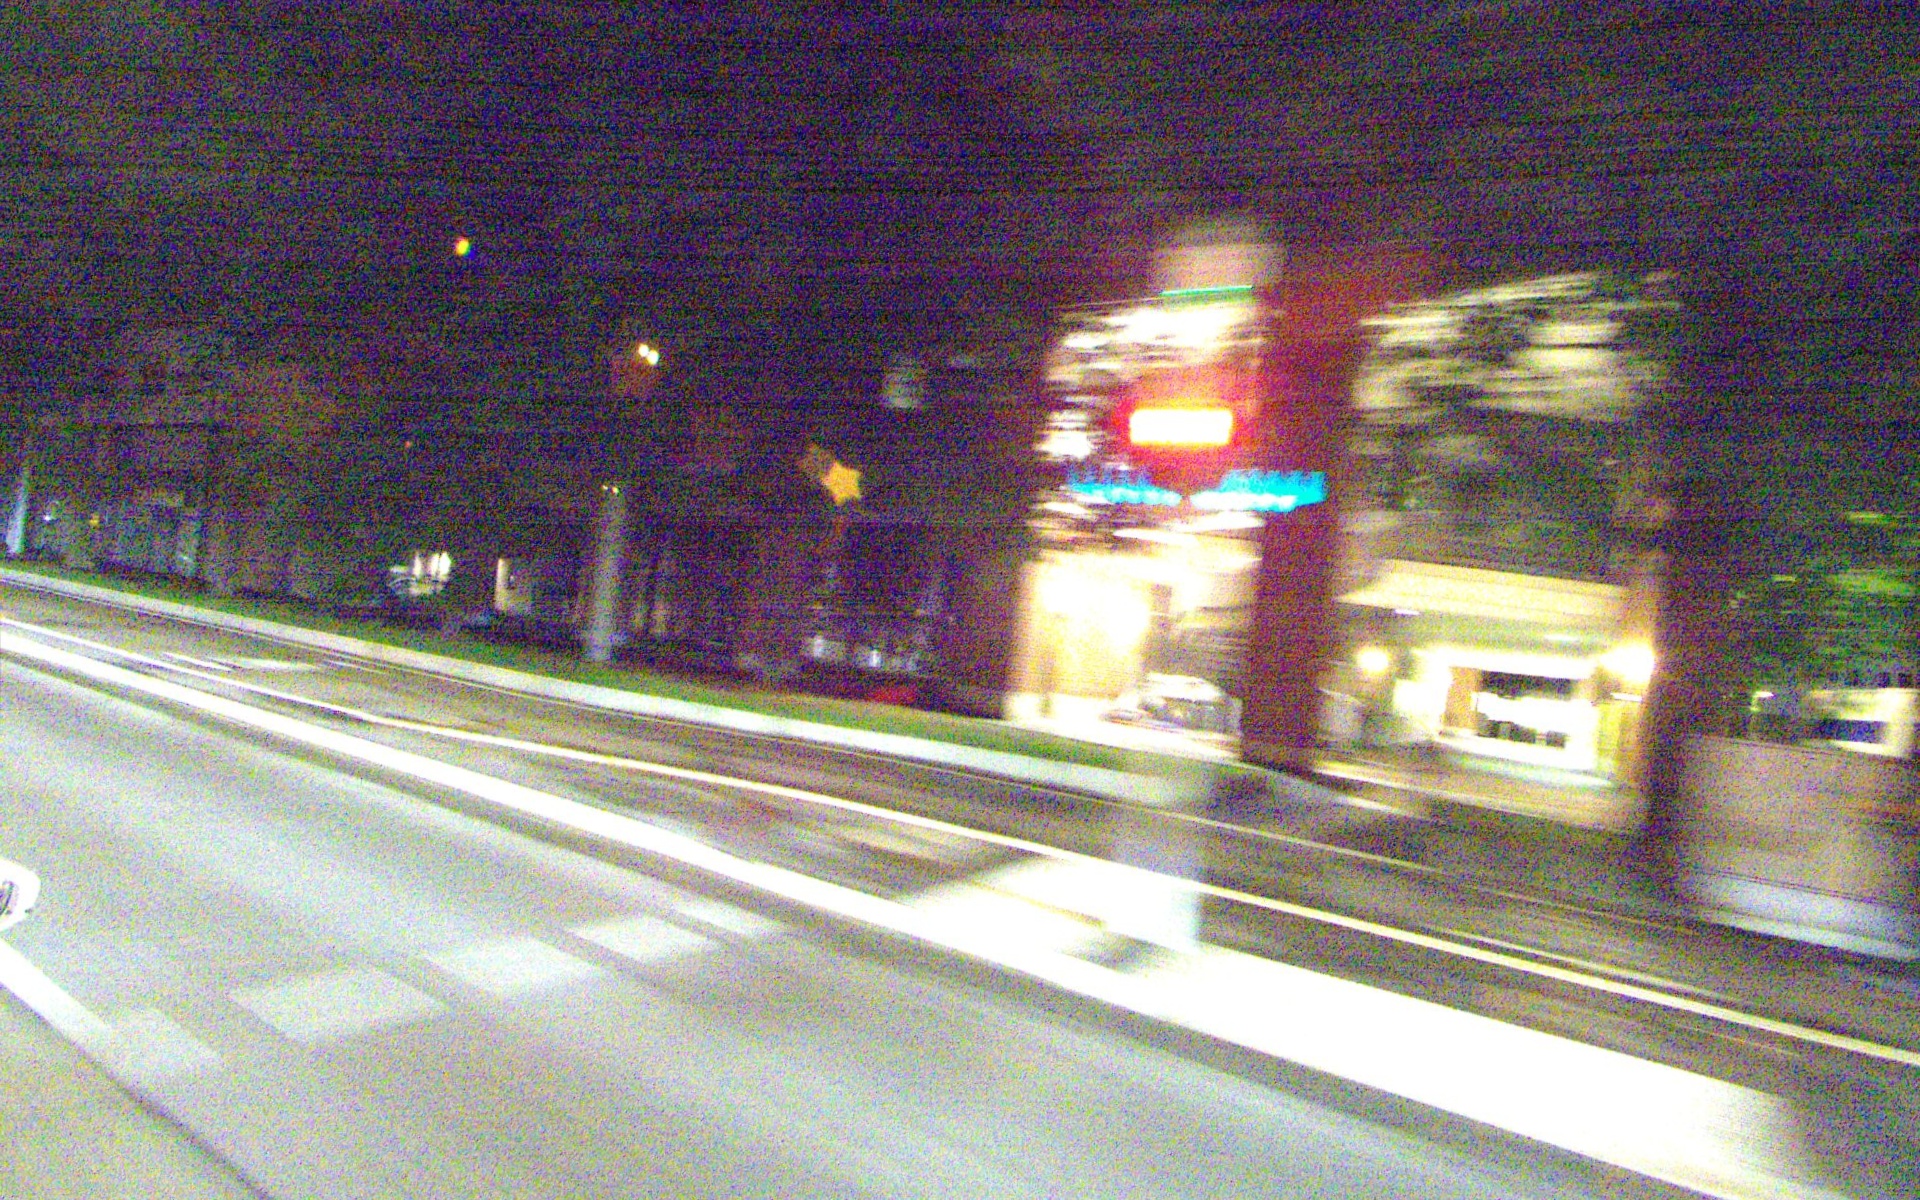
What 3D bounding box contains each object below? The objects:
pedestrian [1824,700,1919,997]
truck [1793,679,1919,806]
[{"bbox_3d":[6.316,1.619,6.599,0.746,1.832,0.622,6,-1,32],"label":"pedestrian"},{"bbox_3d":[33.318,4.897,34.237,3.076,4.030,16.831,5,-2,25],"label":"truck"}]
